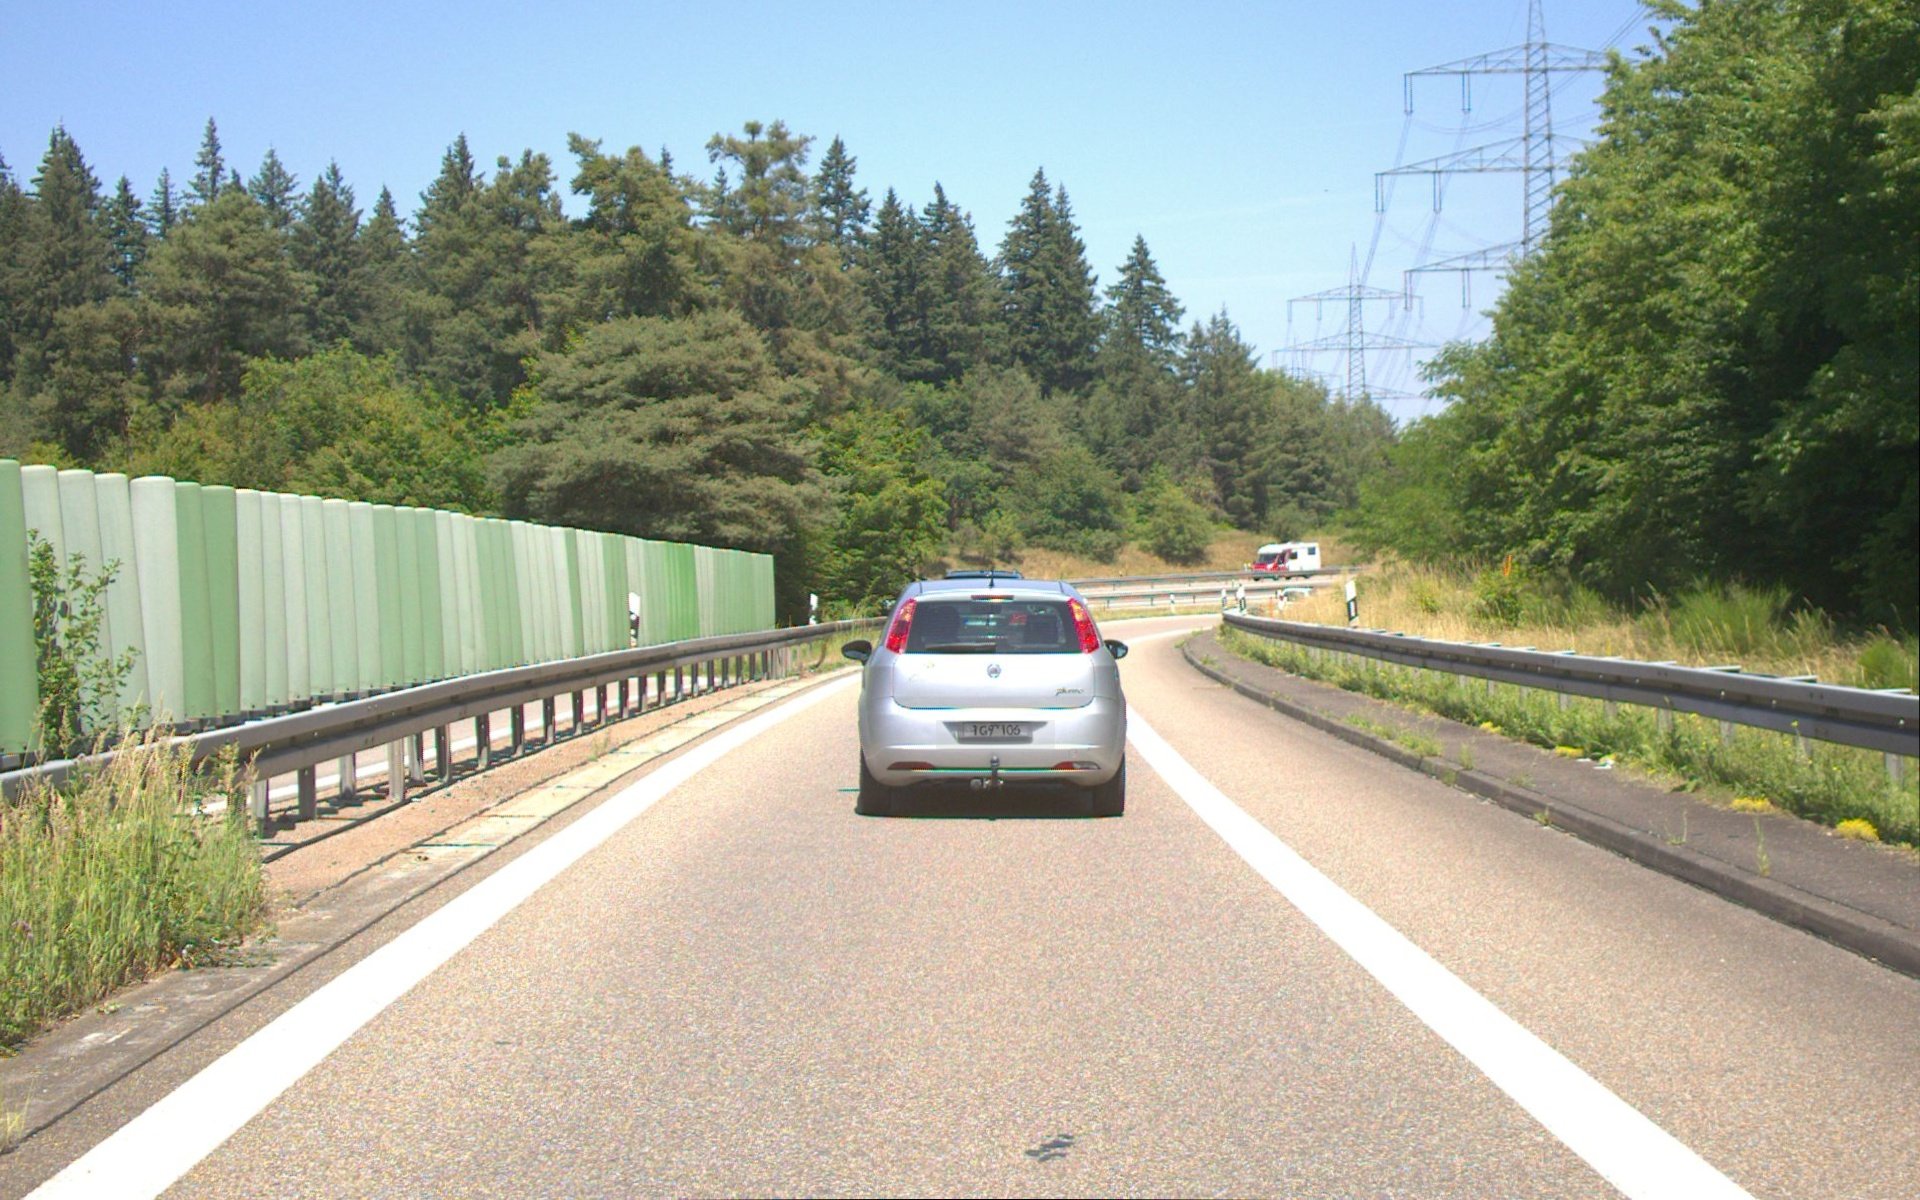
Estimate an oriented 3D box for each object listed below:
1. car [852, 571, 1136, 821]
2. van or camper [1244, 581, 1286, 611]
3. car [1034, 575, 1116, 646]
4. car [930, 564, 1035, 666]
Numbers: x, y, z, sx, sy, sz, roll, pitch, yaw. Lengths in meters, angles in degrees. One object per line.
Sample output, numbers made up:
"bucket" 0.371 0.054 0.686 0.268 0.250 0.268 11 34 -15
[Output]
"car" 0.221 0.567 22.435 1.706 1.477 3.398 0 1 1
"van or camper" 15.726 -0.222 177.154 1.808 1.481 3.998 0 1 10
"car" 2.914 0.262 87.599 1.882 1.678 4.000 -3 0 0
"car" 0.354 0.229 58.519 1.706 1.670 3.398 0 1 -1
